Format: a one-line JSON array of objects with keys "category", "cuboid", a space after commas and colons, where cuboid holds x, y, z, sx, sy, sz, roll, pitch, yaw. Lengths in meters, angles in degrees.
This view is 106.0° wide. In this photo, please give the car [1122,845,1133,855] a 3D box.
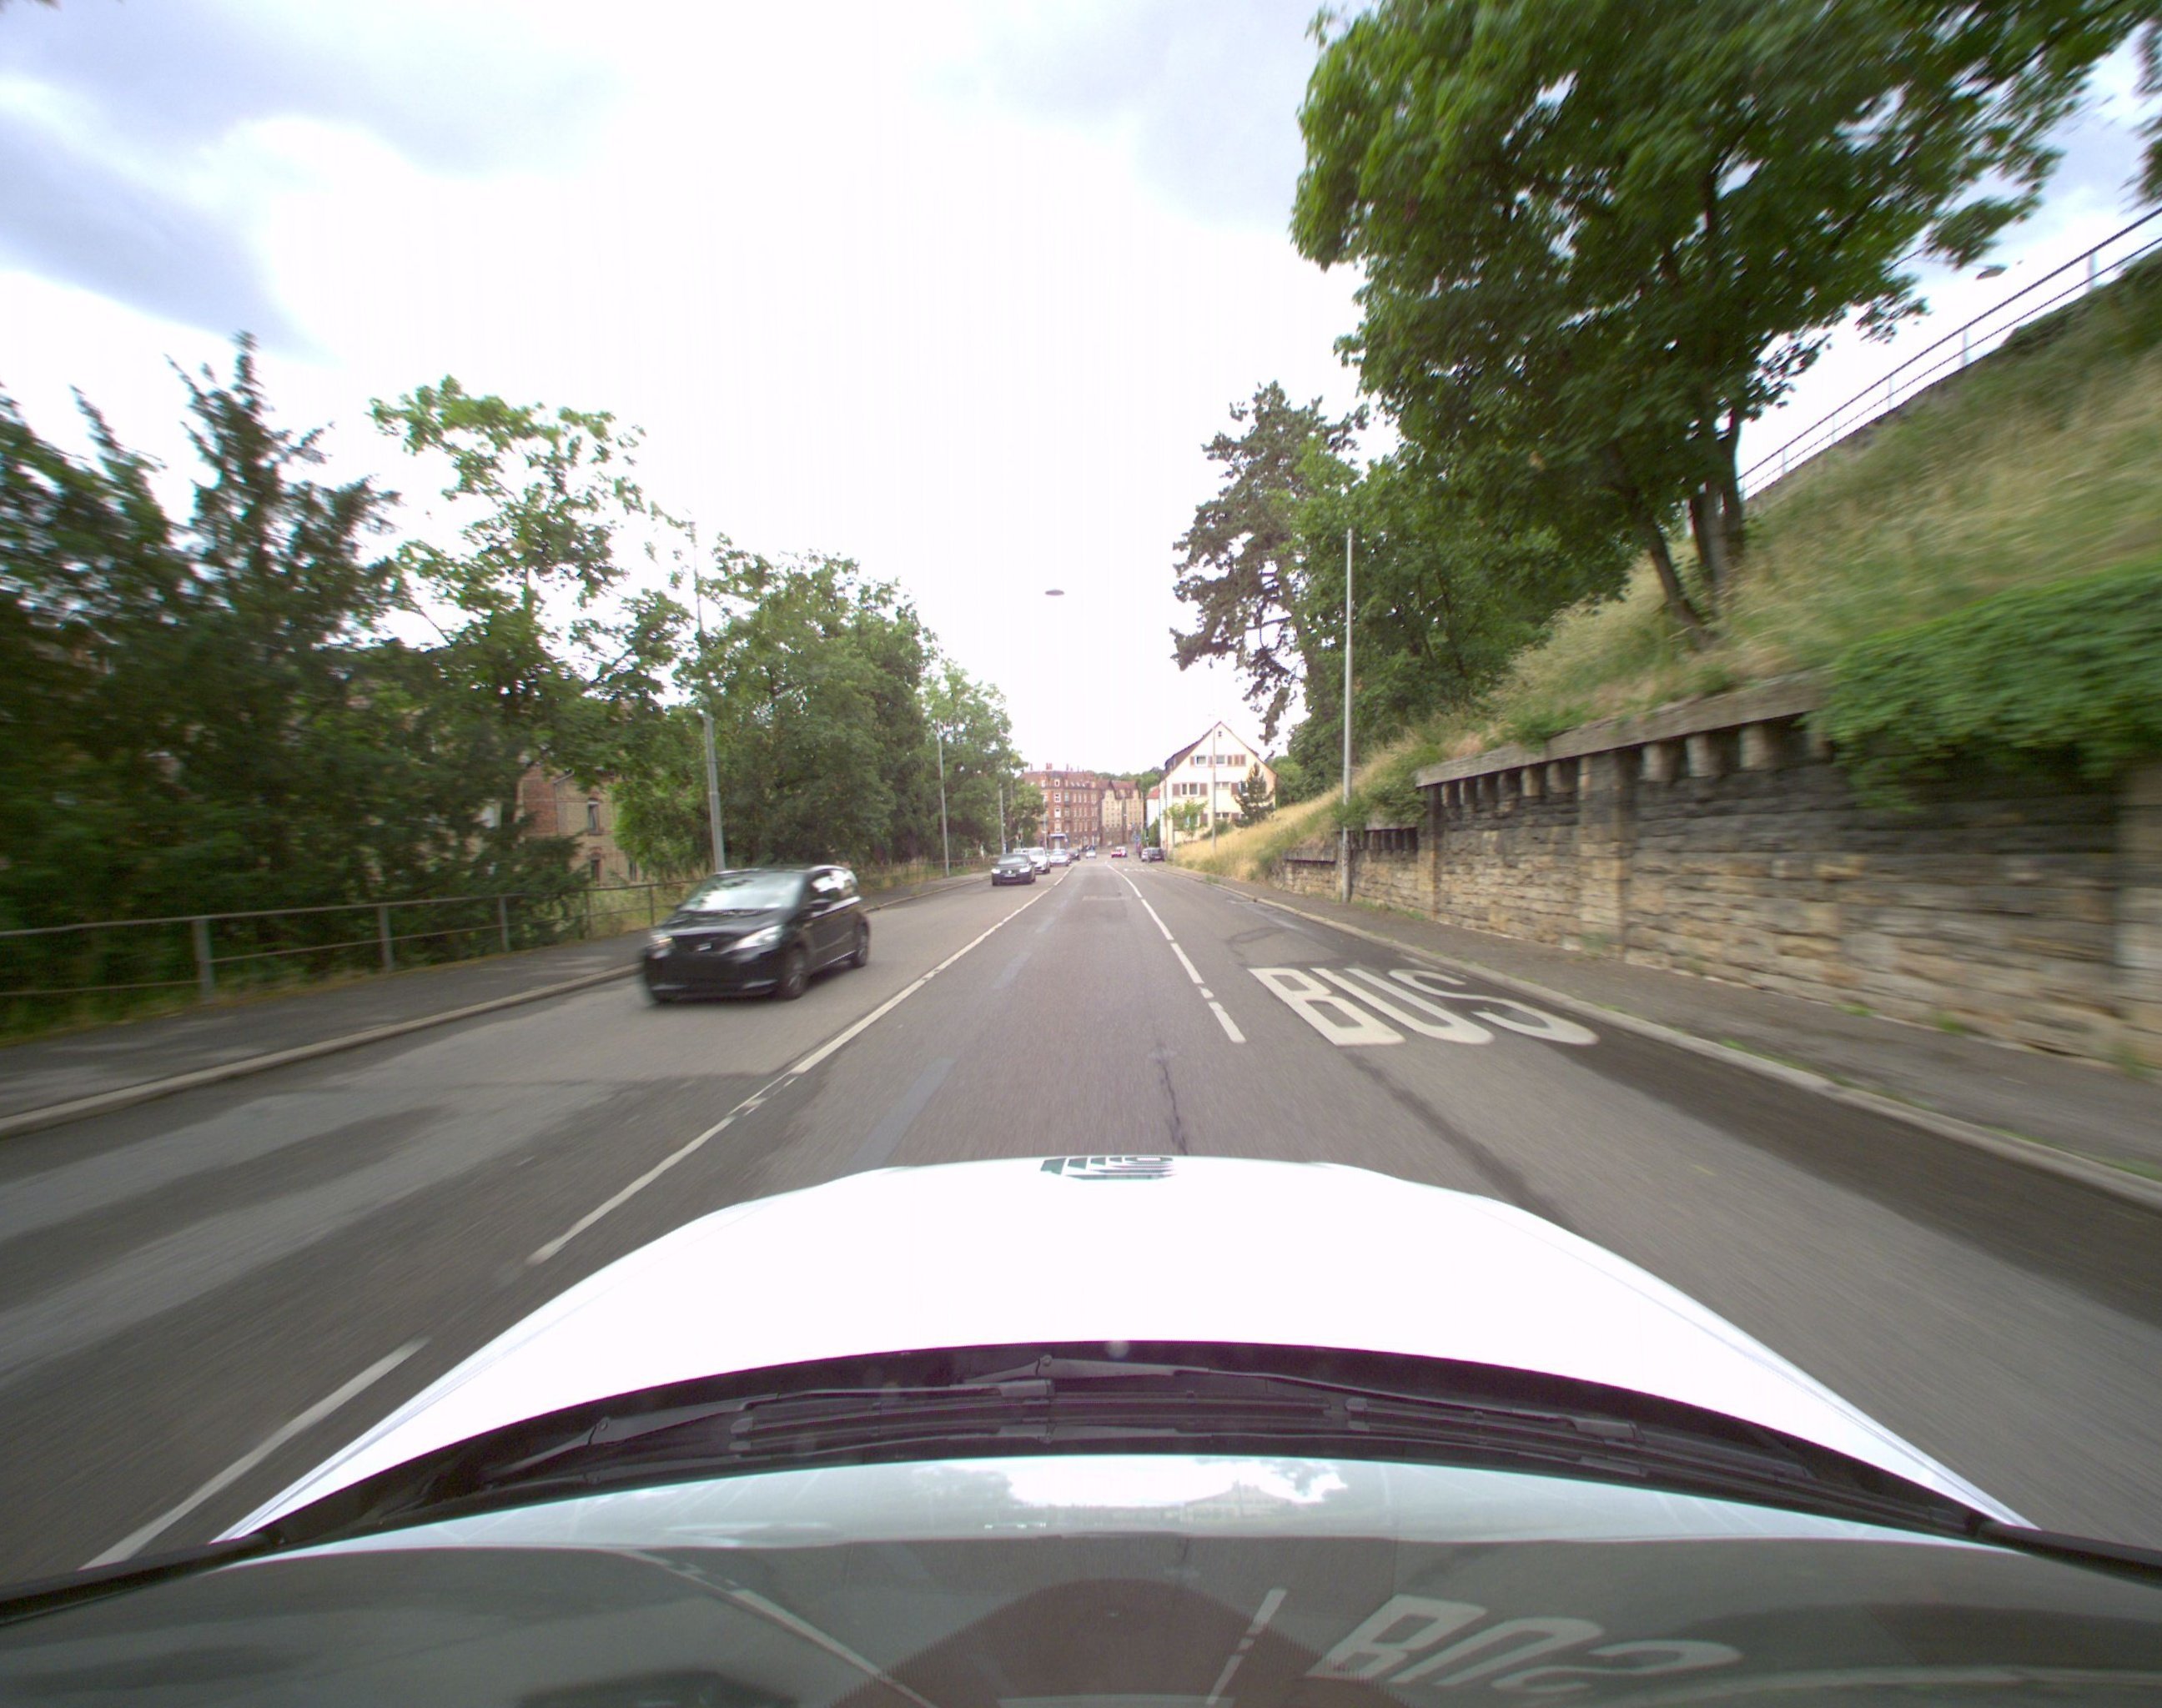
[{"category": "car", "cuboid": [8.623, -0.765, 151.475, 1.900, 1.884, 4.007, 0, 0, 6]}]

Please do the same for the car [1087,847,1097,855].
[{"category": "car", "cuboid": [2.087, -0.540, 148.011, 1.714, 1.444, 4.160, -3, 0, 1]}]

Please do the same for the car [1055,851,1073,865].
[{"category": "car", "cuboid": [-1.844, 0.396, 89.518, 1.777, 1.459, 4.429, -2, 0, 1]}]

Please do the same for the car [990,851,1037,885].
[{"category": "car", "cuboid": [-3.070, 0.588, 37.730, 1.707, 1.427, 4.139, -2, 0, 1]}]

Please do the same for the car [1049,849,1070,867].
[{"category": "car", "cuboid": [-1.959, 0.376, 75.396, 1.777, 1.574, 4.281, -2, 0, 1]}]

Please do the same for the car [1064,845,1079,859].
[{"category": "car", "cuboid": [-1.228, -0.245, 109.528, 1.777, 1.746, 4.430, -2, 0, 2]}]

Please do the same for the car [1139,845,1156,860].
[{"category": "car", "cuboid": [7.553, -0.211, 92.980, 1.786, 1.451, 4.725, -5, 1, 5]}]

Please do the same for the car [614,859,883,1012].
[{"category": "car", "cuboid": [-3.833, 0.838, 10.124, 1.662, 1.447, 3.690, -2, 0, 2]}]

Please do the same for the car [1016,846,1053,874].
[{"category": "car", "cuboid": [-3.021, 0.351, 53.590, 1.988, 1.683, 4.665, -2, 0, 2]}]

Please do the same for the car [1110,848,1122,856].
[{"category": "car", "cuboid": [6.201, -0.310, 144.597, 1.807, 1.430, 4.007, 0, 1, 6]}]

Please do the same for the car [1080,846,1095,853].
[{"category": "car", "cuboid": [1.531, -1.042, 191.129, 1.966, 1.574, 4.396, -3, 0, 18]}]

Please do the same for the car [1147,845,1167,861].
[{"category": "car", "cuboid": [7.859, -0.091, 84.081, 1.675, 1.451, 4.001, -5, 0, 1]}]
